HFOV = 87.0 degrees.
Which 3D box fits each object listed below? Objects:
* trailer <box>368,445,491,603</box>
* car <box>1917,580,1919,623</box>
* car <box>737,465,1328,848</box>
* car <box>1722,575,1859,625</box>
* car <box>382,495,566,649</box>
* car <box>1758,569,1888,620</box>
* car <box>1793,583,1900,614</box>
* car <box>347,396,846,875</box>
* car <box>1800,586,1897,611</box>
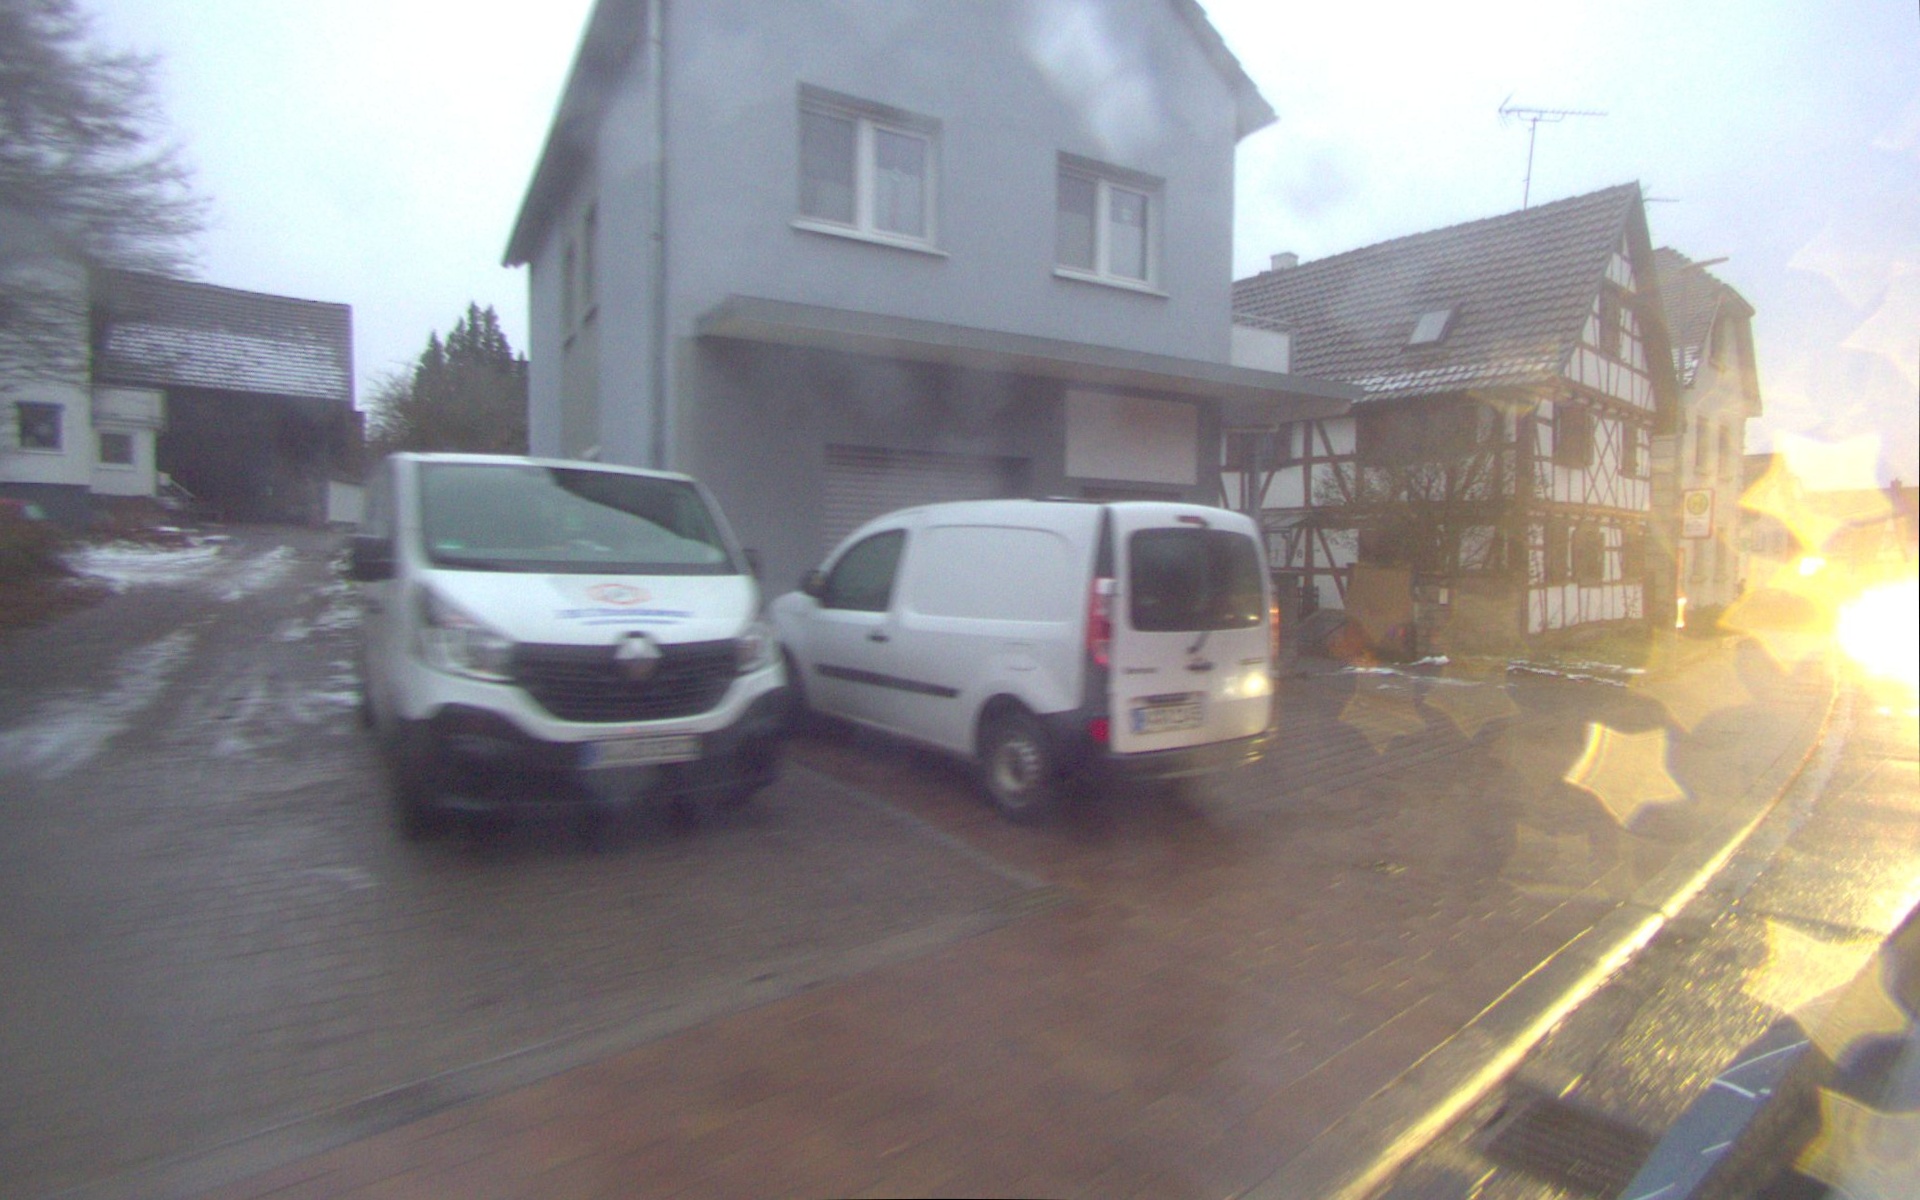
[{"bbox_3d":[-9.728,-1.458,18.538,1.802,2.546,4.010,-1,7,-29],"label":"trailer"},{"bbox_3d":[37.167,0.073,37.784,1.917,1.638,3.810,1,1,41],"label":"car"},{"bbox_3d":[0.194,0.123,7.064,1.830,1.865,4.054,-1,4,-38],"label":"car"},{"bbox_3d":[30.980,-0.048,37.888,3.837,1.647,1.589,4,3,40],"label":"car"},{"bbox_3d":[-6.363,-0.486,12.997,1.843,1.641,4.008,0,5,-30],"label":"car"},{"bbox_3d":[35.122,-0.258,41.327,3.872,1.900,1.843,3,2,39],"label":"car"},{"bbox_3d":[43.676,-0.096,49.891,3.879,1.383,1.527,3,3,44],"label":"car"},{"bbox_3d":[-2.770,-0.025,6.632,1.899,1.911,5.002,0,4,-34],"label":"car"},{"bbox_3d":[47.844,-0.103,54.531,3.879,1.141,1.527,3,3,44],"label":"car"}]
